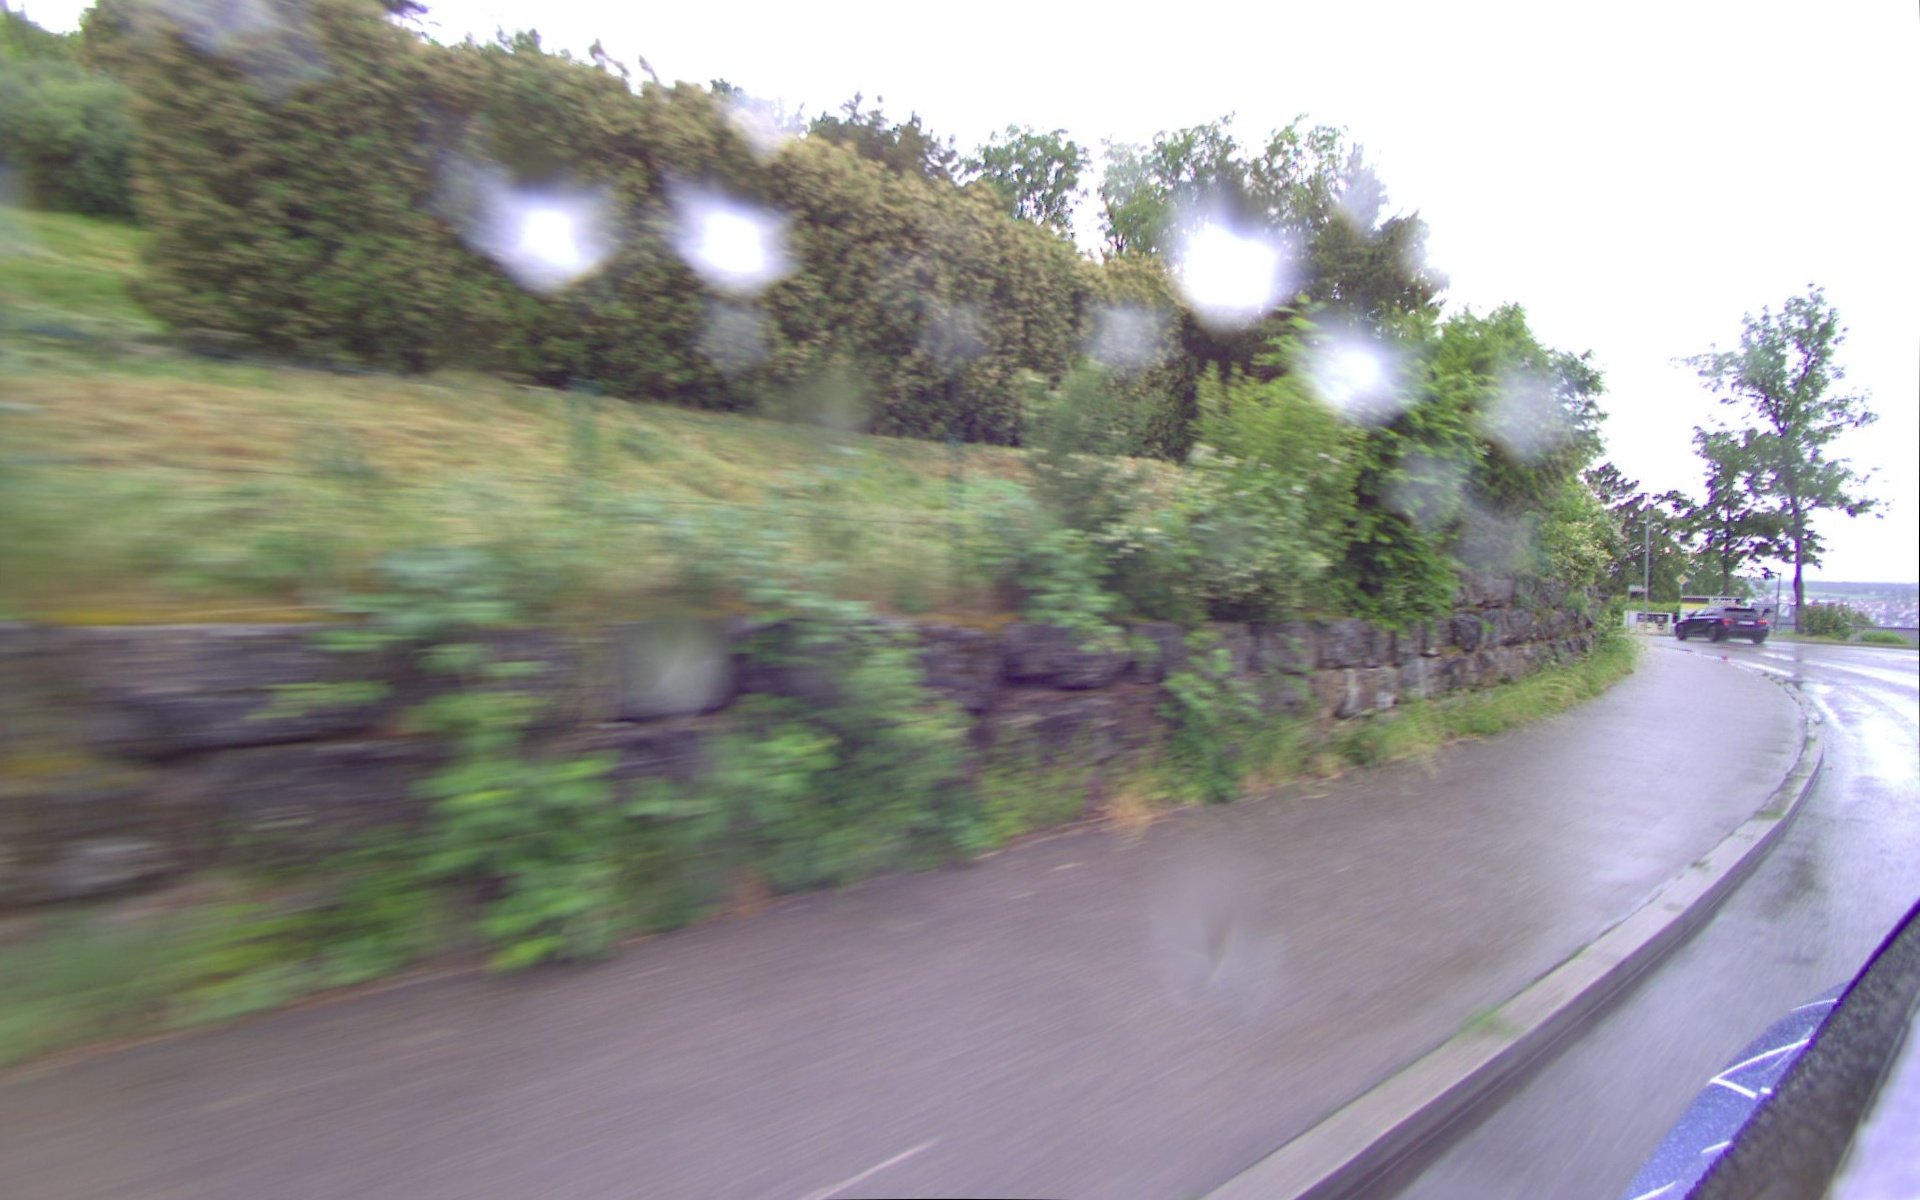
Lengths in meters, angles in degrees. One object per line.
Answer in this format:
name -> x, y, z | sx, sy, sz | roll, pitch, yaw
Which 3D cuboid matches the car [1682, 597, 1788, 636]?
car -> 30.568, 0.603, 40.056 | 1.756, 1.438, 4.148 | 0, 0, 13
